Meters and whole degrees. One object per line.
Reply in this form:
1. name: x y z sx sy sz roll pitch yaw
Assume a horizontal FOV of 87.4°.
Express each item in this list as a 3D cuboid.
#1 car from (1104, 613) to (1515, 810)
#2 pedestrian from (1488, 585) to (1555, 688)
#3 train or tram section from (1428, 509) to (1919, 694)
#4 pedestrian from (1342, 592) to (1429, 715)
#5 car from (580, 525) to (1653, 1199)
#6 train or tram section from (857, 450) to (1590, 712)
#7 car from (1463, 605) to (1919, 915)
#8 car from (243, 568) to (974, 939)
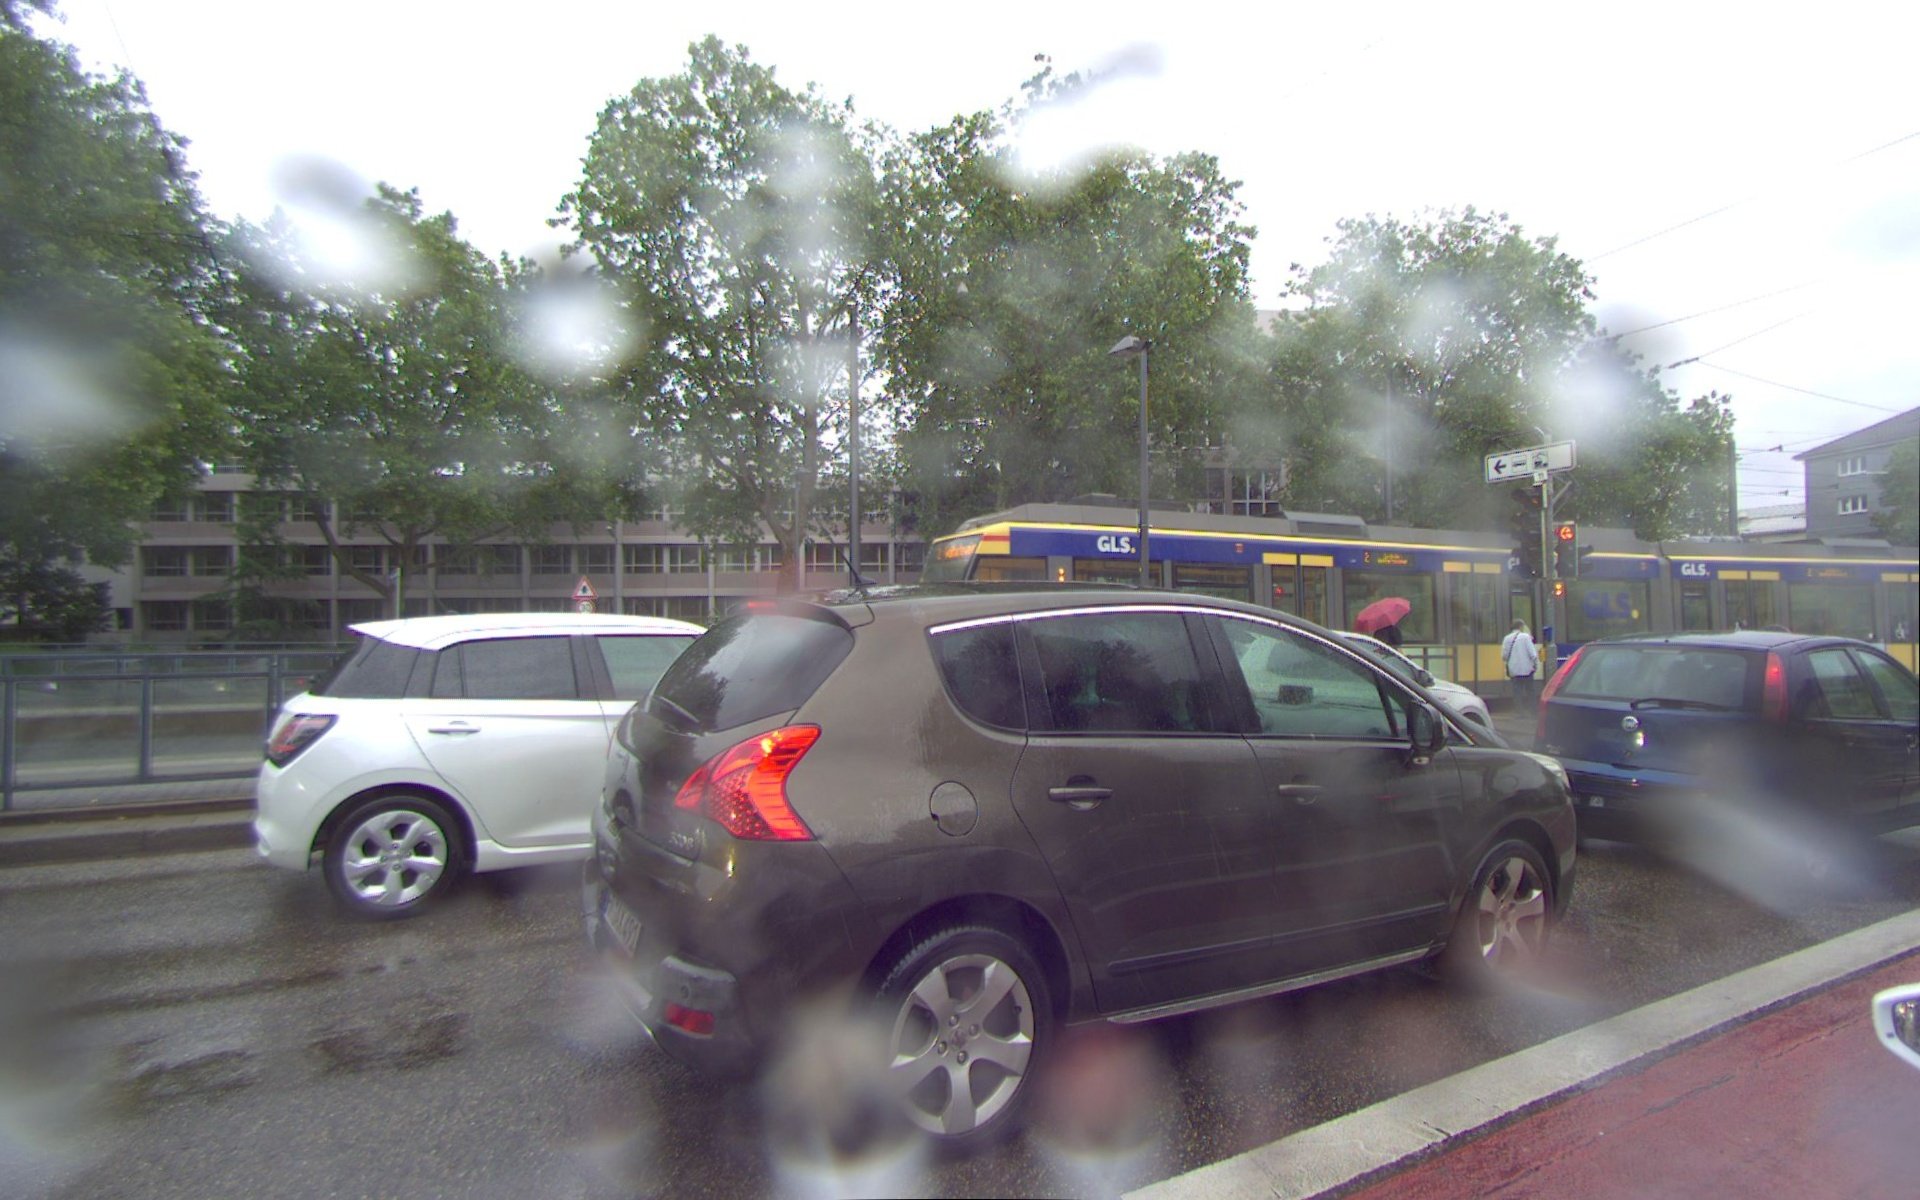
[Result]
1. car: 3.341 0.916 9.461 3.737 1.514 1.621 1 -1 -30
2. pedestrian: 9.077 0.581 16.247 0.731 1.628 0.623 1 0 -23
3. train or tram section: 18.350 0.190 22.535 15.237 3.458 3.543 2 0 -13
4. pedestrian: 6.343 0.792 14.975 0.888 1.769 0.762 0 -3 -30
5. car: 0.780 0.723 4.117 4.124 1.690 1.825 1 -1 -30
6. train or tram section: 5.134 -0.118 18.022 13.469 3.559 3.504 2 0 -24
7. car: 5.416 0.874 6.917 3.776 1.599 1.719 1 -1 -30
8. car: -1.951 0.740 6.157 3.791 1.650 1.637 1 -2 -30
